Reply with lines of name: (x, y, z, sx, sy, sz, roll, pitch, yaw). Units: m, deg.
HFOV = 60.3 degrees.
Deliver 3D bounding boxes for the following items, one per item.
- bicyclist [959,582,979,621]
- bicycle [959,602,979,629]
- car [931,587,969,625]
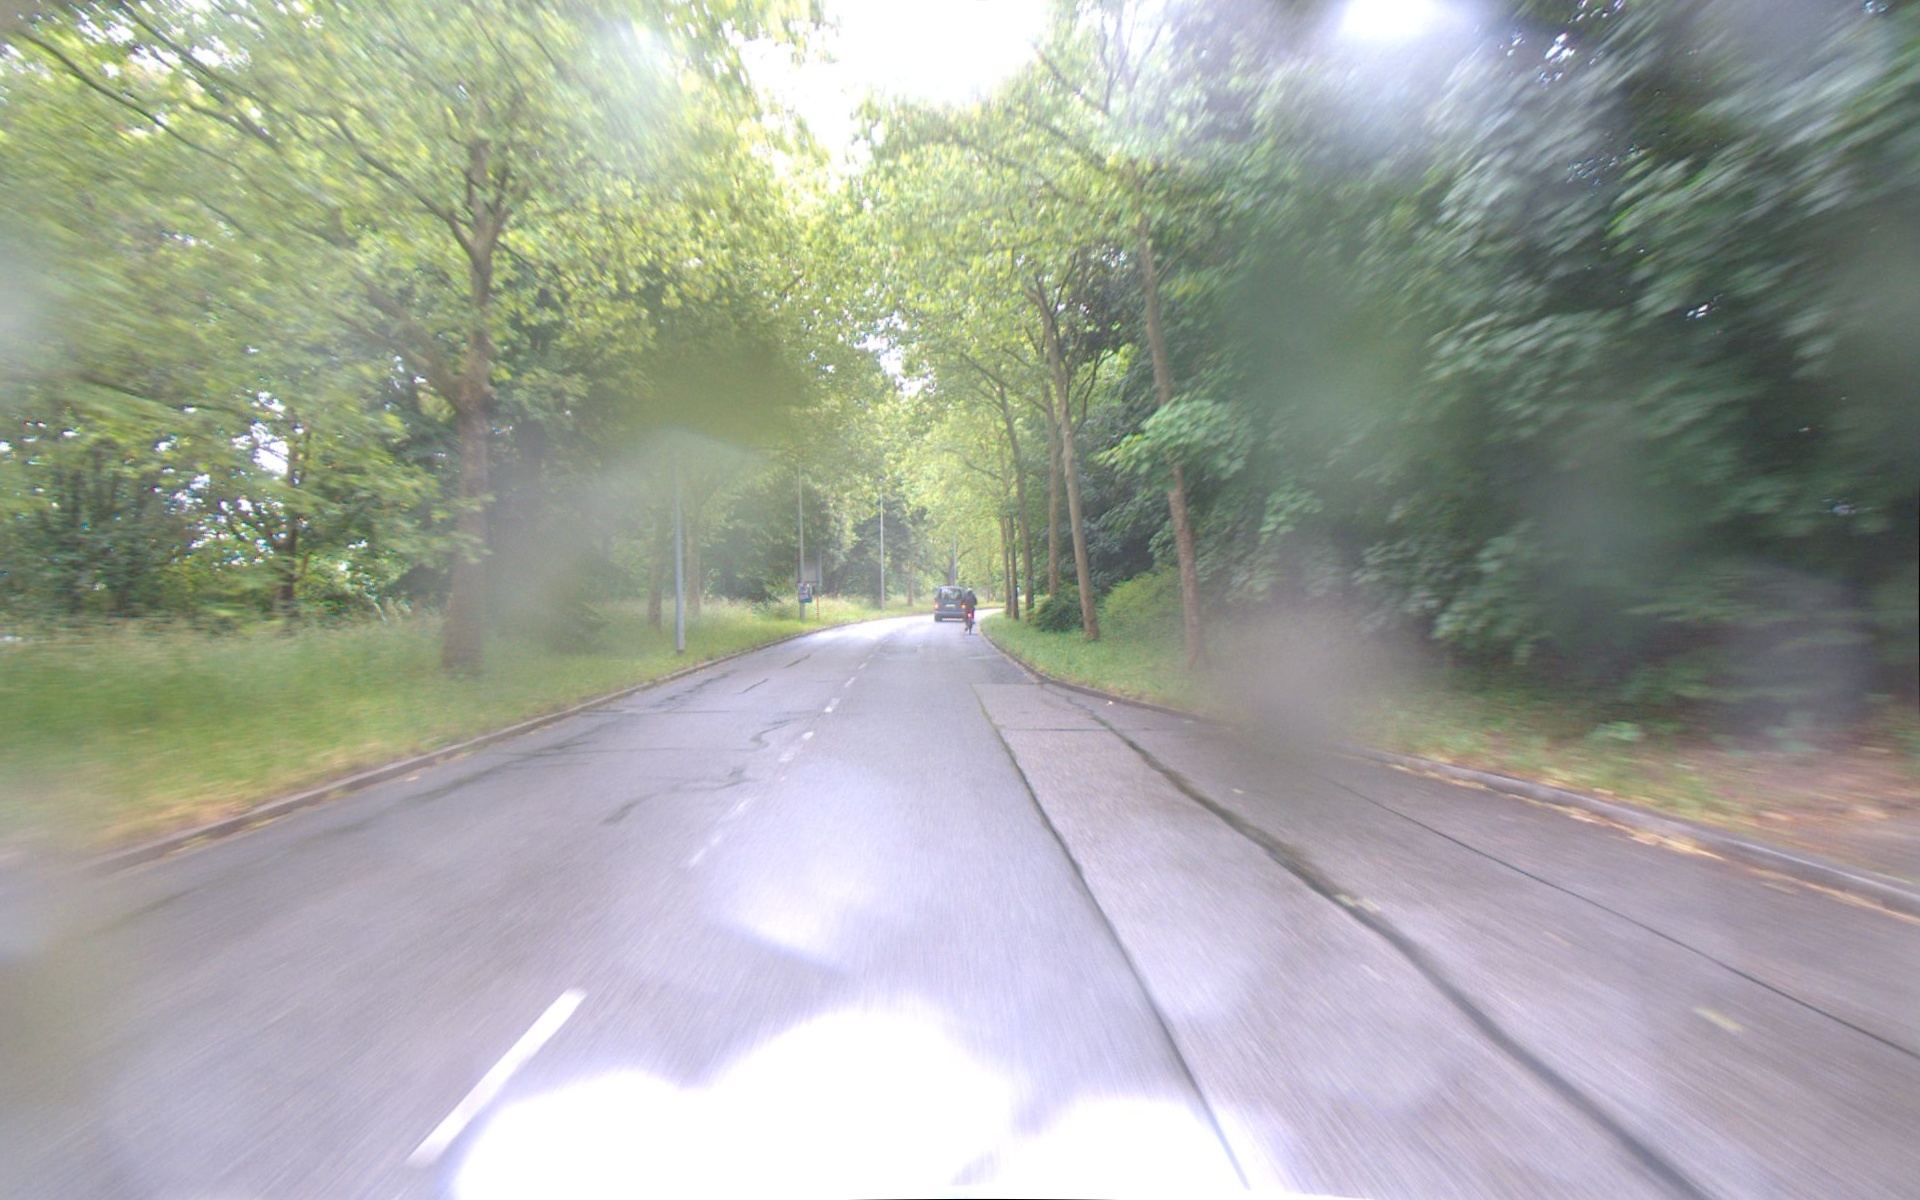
bicyclist: (0.357, 0.050, 62.784, 0.714, 1.435, 0.973, 0, 0, 2)
bicycle: (0.354, 0.565, 62.865, 0.714, 0.991, 2.173, 0, 0, 2)
car: (-0.576, 0.298, 88.443, 1.945, 1.959, 3.999, -1, 0, -1)
